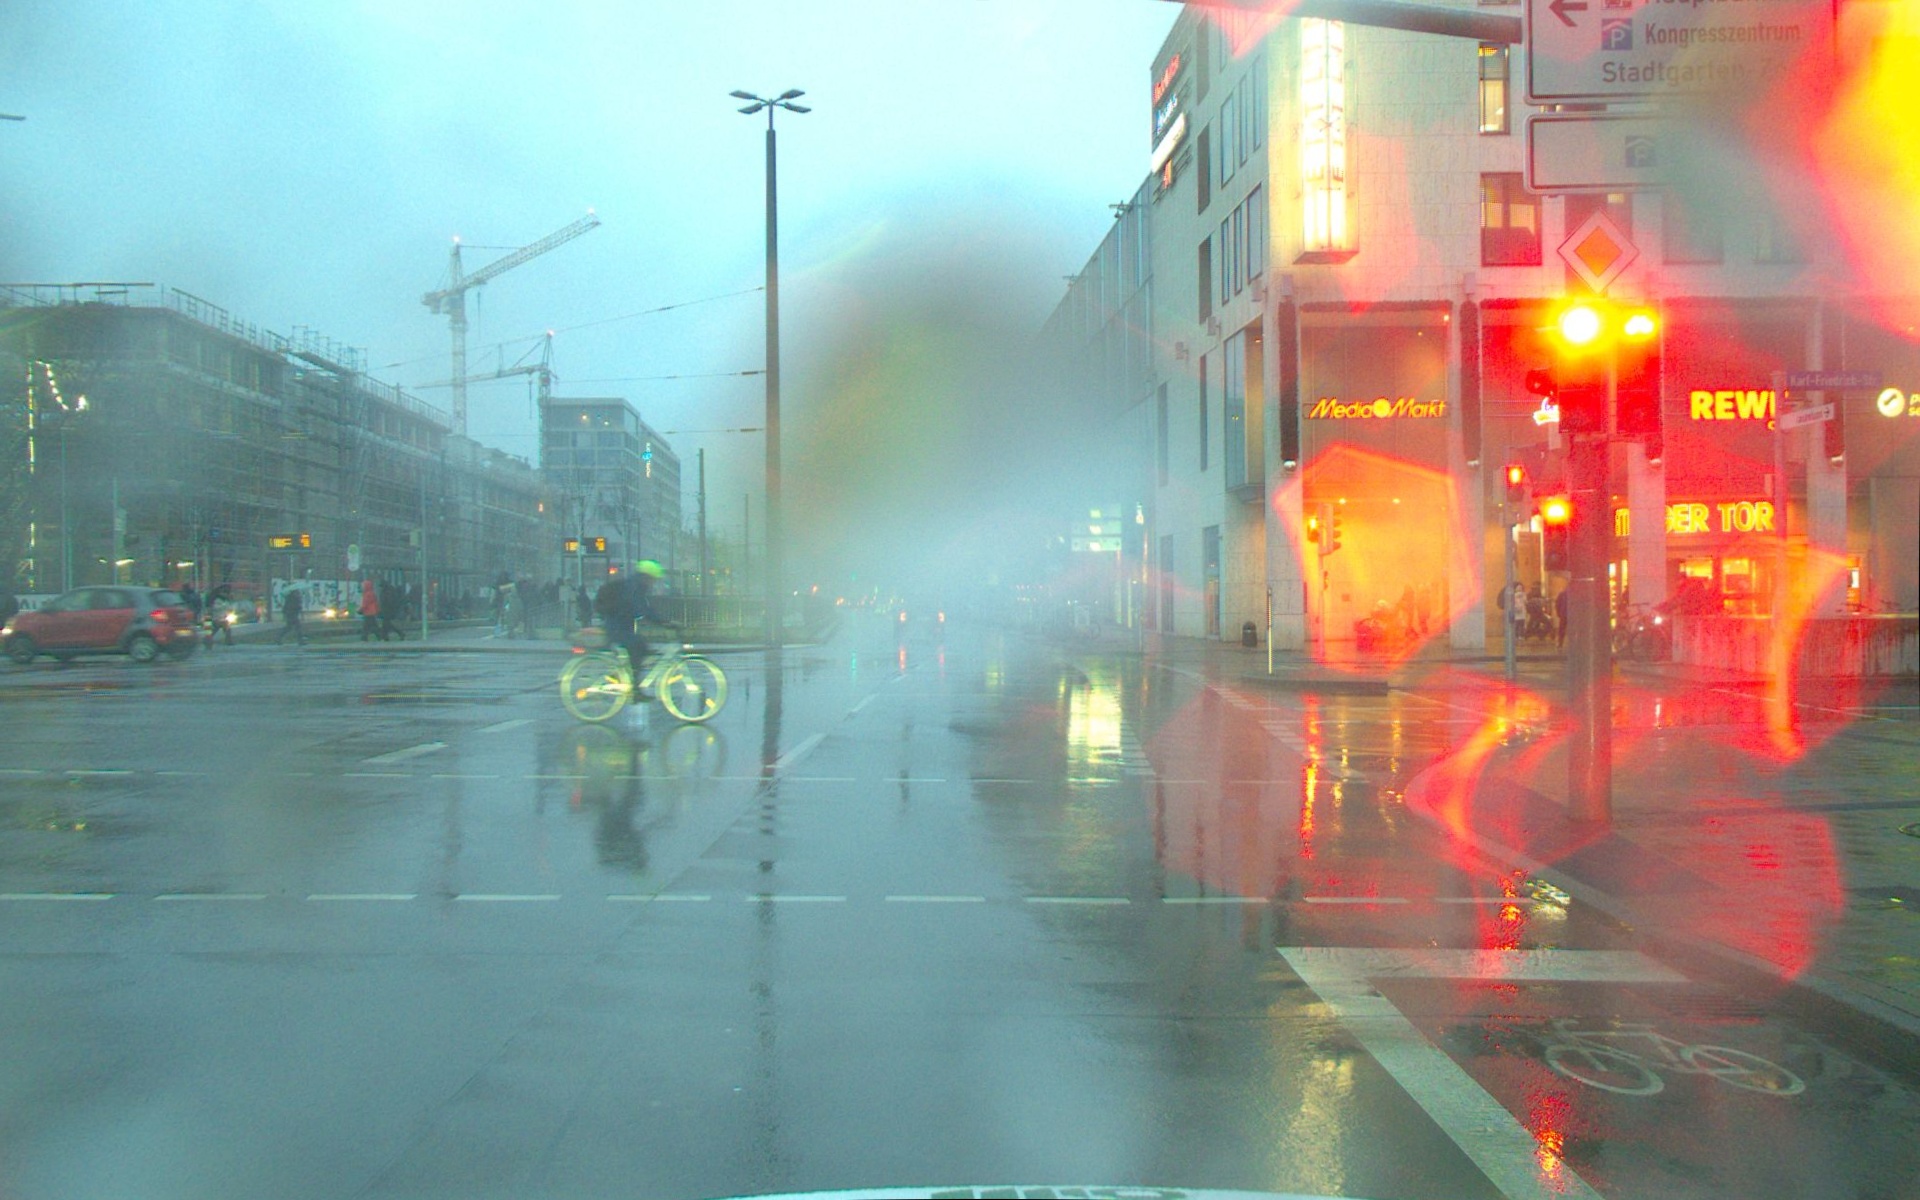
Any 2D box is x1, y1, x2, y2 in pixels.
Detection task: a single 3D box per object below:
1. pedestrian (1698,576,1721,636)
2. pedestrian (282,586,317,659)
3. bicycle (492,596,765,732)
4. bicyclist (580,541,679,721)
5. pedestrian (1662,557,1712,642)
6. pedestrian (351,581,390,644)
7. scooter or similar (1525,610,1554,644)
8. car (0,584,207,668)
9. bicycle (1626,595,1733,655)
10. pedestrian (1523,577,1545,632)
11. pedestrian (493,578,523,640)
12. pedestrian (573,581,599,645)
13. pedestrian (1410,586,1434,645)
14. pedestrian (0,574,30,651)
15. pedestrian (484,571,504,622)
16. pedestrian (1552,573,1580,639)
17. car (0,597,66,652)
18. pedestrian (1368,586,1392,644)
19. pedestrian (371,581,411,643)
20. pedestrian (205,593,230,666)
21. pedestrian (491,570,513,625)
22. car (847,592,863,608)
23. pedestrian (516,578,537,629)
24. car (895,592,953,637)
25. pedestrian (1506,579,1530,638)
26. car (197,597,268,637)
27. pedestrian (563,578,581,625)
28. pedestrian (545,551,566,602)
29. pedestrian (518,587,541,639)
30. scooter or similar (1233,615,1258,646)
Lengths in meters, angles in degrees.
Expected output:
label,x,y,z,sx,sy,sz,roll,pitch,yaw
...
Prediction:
label,x,y,z,sx,sy,sz,roll,pitch,yaw
pedestrian,22.464,0.186,49.550,0.501,1.791,0.374,-1,0,1
pedestrian,-18.830,0.630,47.168,0.778,2.049,0.745,-1,0,-11
bicycle,-3.523,0.684,17.744,2.779,1.386,0.719,1,-1,-10
bicyclist,-3.530,0.329,17.759,0.975,1.871,0.719,1,-1,-10
pedestrian,13.998,-0.006,31.846,0.764,1.623,0.613,-1,0,14
pedestrian,-16.308,0.347,45.760,0.814,1.709,0.619,-1,0,25
scooter or similar,17.535,0.817,50.040,0.726,1.011,0.400,-1,0,0
car,-17.548,0.527,33.825,3.496,1.610,1.676,-1,-1,-1
bicycle,13.848,0.478,31.870,1.806,1.112,0.618,-1,0,14
pedestrian,18.435,0.144,53.152,0.526,1.748,0.500,-1,0,37
pedestrian,-13.131,0.264,48.037,0.689,1.791,0.652,-1,0,-3
pedestrian,-10.648,0.362,47.063,0.620,1.803,0.483,-1,0,-2
pedestrian,13.903,0.470,49.783,0.526,1.748,0.500,-1,0,37
pedestrian,-25.336,0.325,44.164,0.770,2.049,0.604,-1,0,-39
pedestrian,-16.253,-0.116,57.668,0.600,1.776,0.619,-1,0,-11
pedestrian,15.893,0.152,43.375,0.526,1.715,0.547,-1,0,37
car,-36.698,0.933,64.222,1.954,2.049,3.997,-1,0,-4
pedestrian,12.643,0.452,49.790,0.526,1.748,0.500,-1,0,37
pedestrian,-15.945,0.326,46.387,0.827,1.718,0.676,-1,0,30
pedestrian,-21.111,0.821,47.023,0.498,2.049,0.638,0,1,-11
pedestrian,-15.073,-0.078,54.450,0.648,1.776,0.734,-1,0,-11
car,-14.150,0.049,222.380,1.953,2.049,3.999,1,-1,-1
pedestrian,-14.999,0.121,57.260,0.599,1.776,0.620,-1,0,-6
car,-1.252,0.503,59.368,1.933,1.557,4.000,-1,0,0
pedestrian,16.795,0.256,49.790,0.526,1.748,0.500,-1,0,37
car,-37.809,0.864,86.074,1.953,2.049,3.999,-1,0,-1
pedestrian,-14.783,0.047,63.003,0.648,1.776,0.619,-1,0,-11
pedestrian,-14.184,-0.809,57.994,0.607,1.776,0.612,-1,0,-6
pedestrian,-13.892,0.420,53.361,0.599,1.647,0.708,-1,0,-5
scooter or similar,8.874,0.938,51.408,0.726,0.932,0.400,-1,0,0
